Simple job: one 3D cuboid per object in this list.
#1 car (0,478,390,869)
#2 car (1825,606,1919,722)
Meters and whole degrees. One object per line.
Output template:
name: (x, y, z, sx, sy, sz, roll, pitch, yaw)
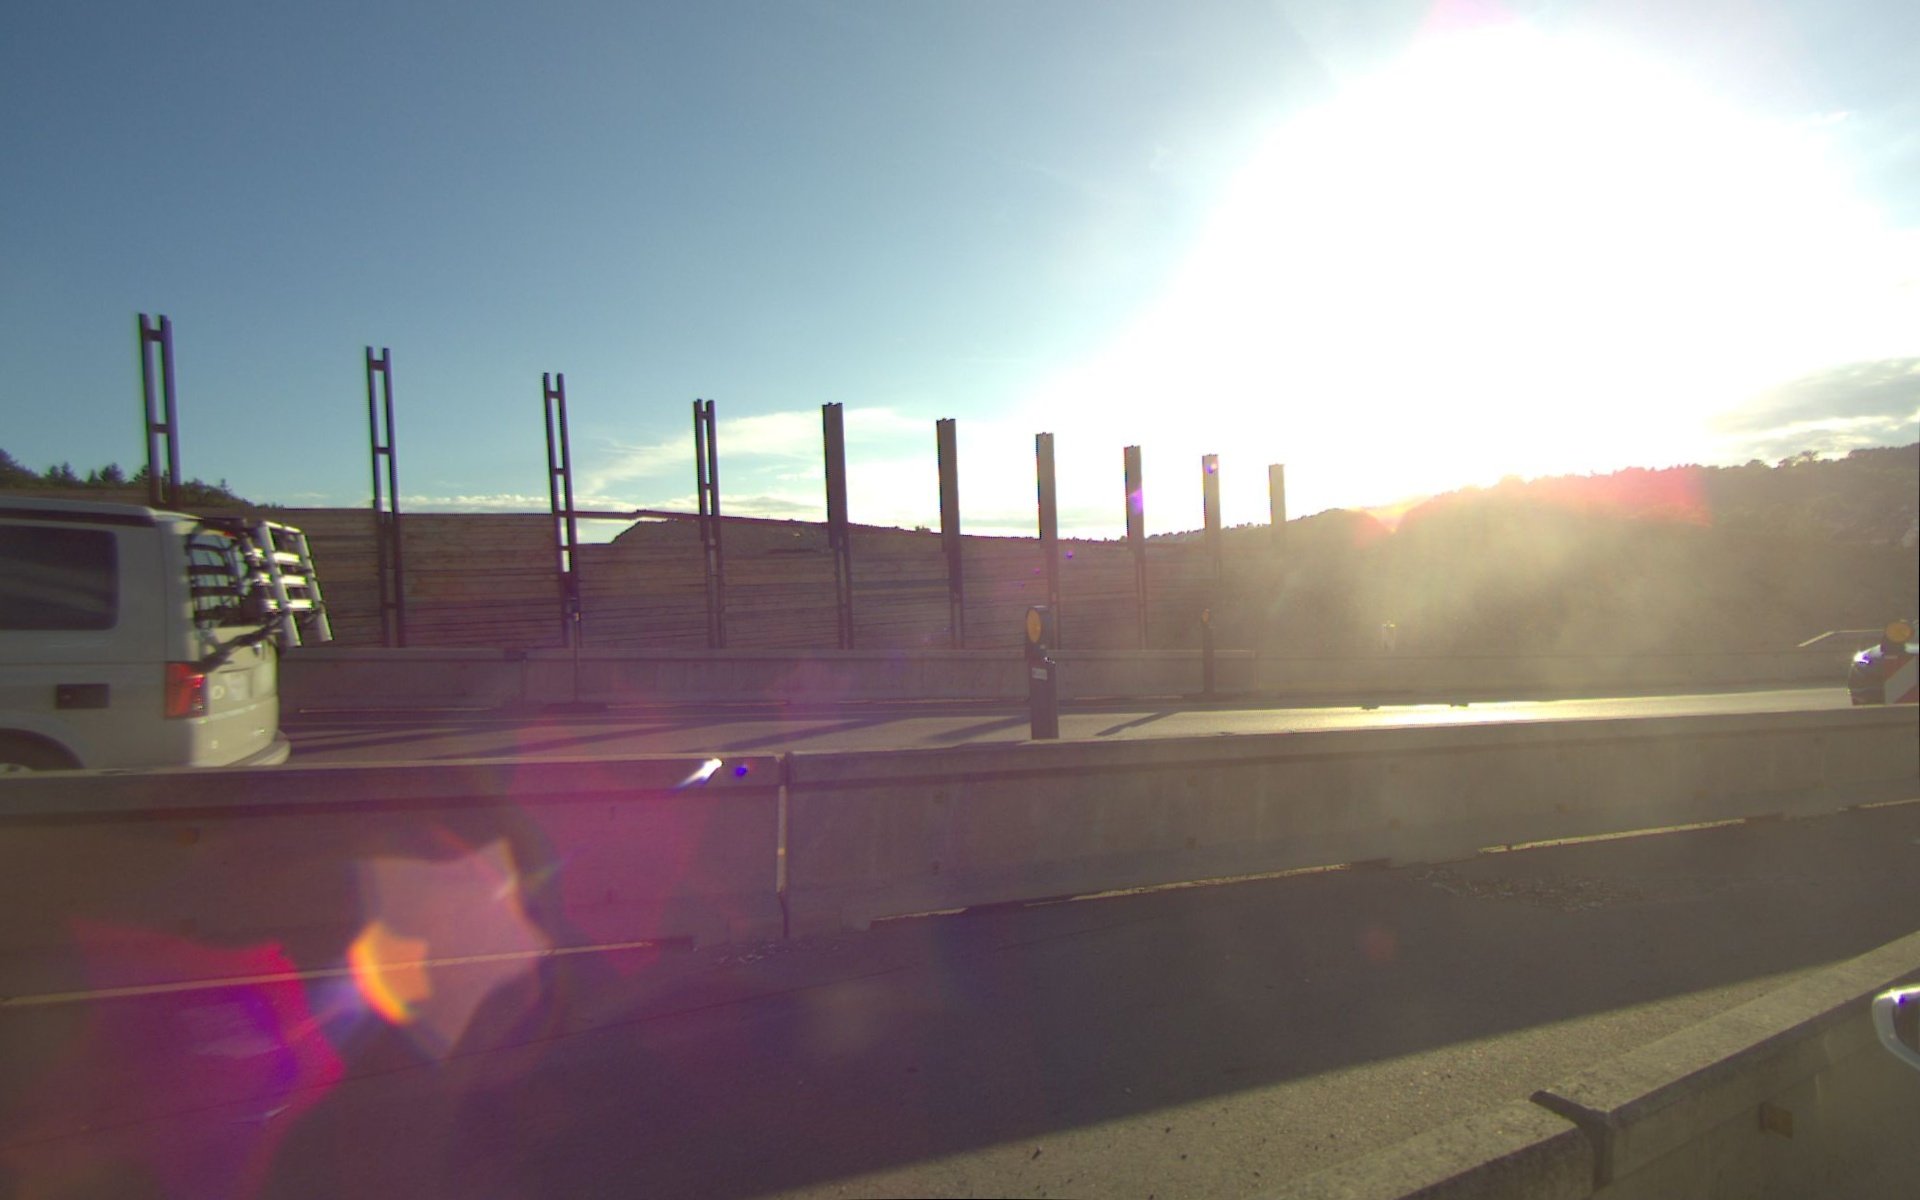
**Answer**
car: (-6.381, 0.352, 5.741, 5.182, 2.040, 1.989, 1, 0, -23)
car: (15.847, 0.956, 15.599, 4.806, 1.641, 1.784, 1, 1, -24)
